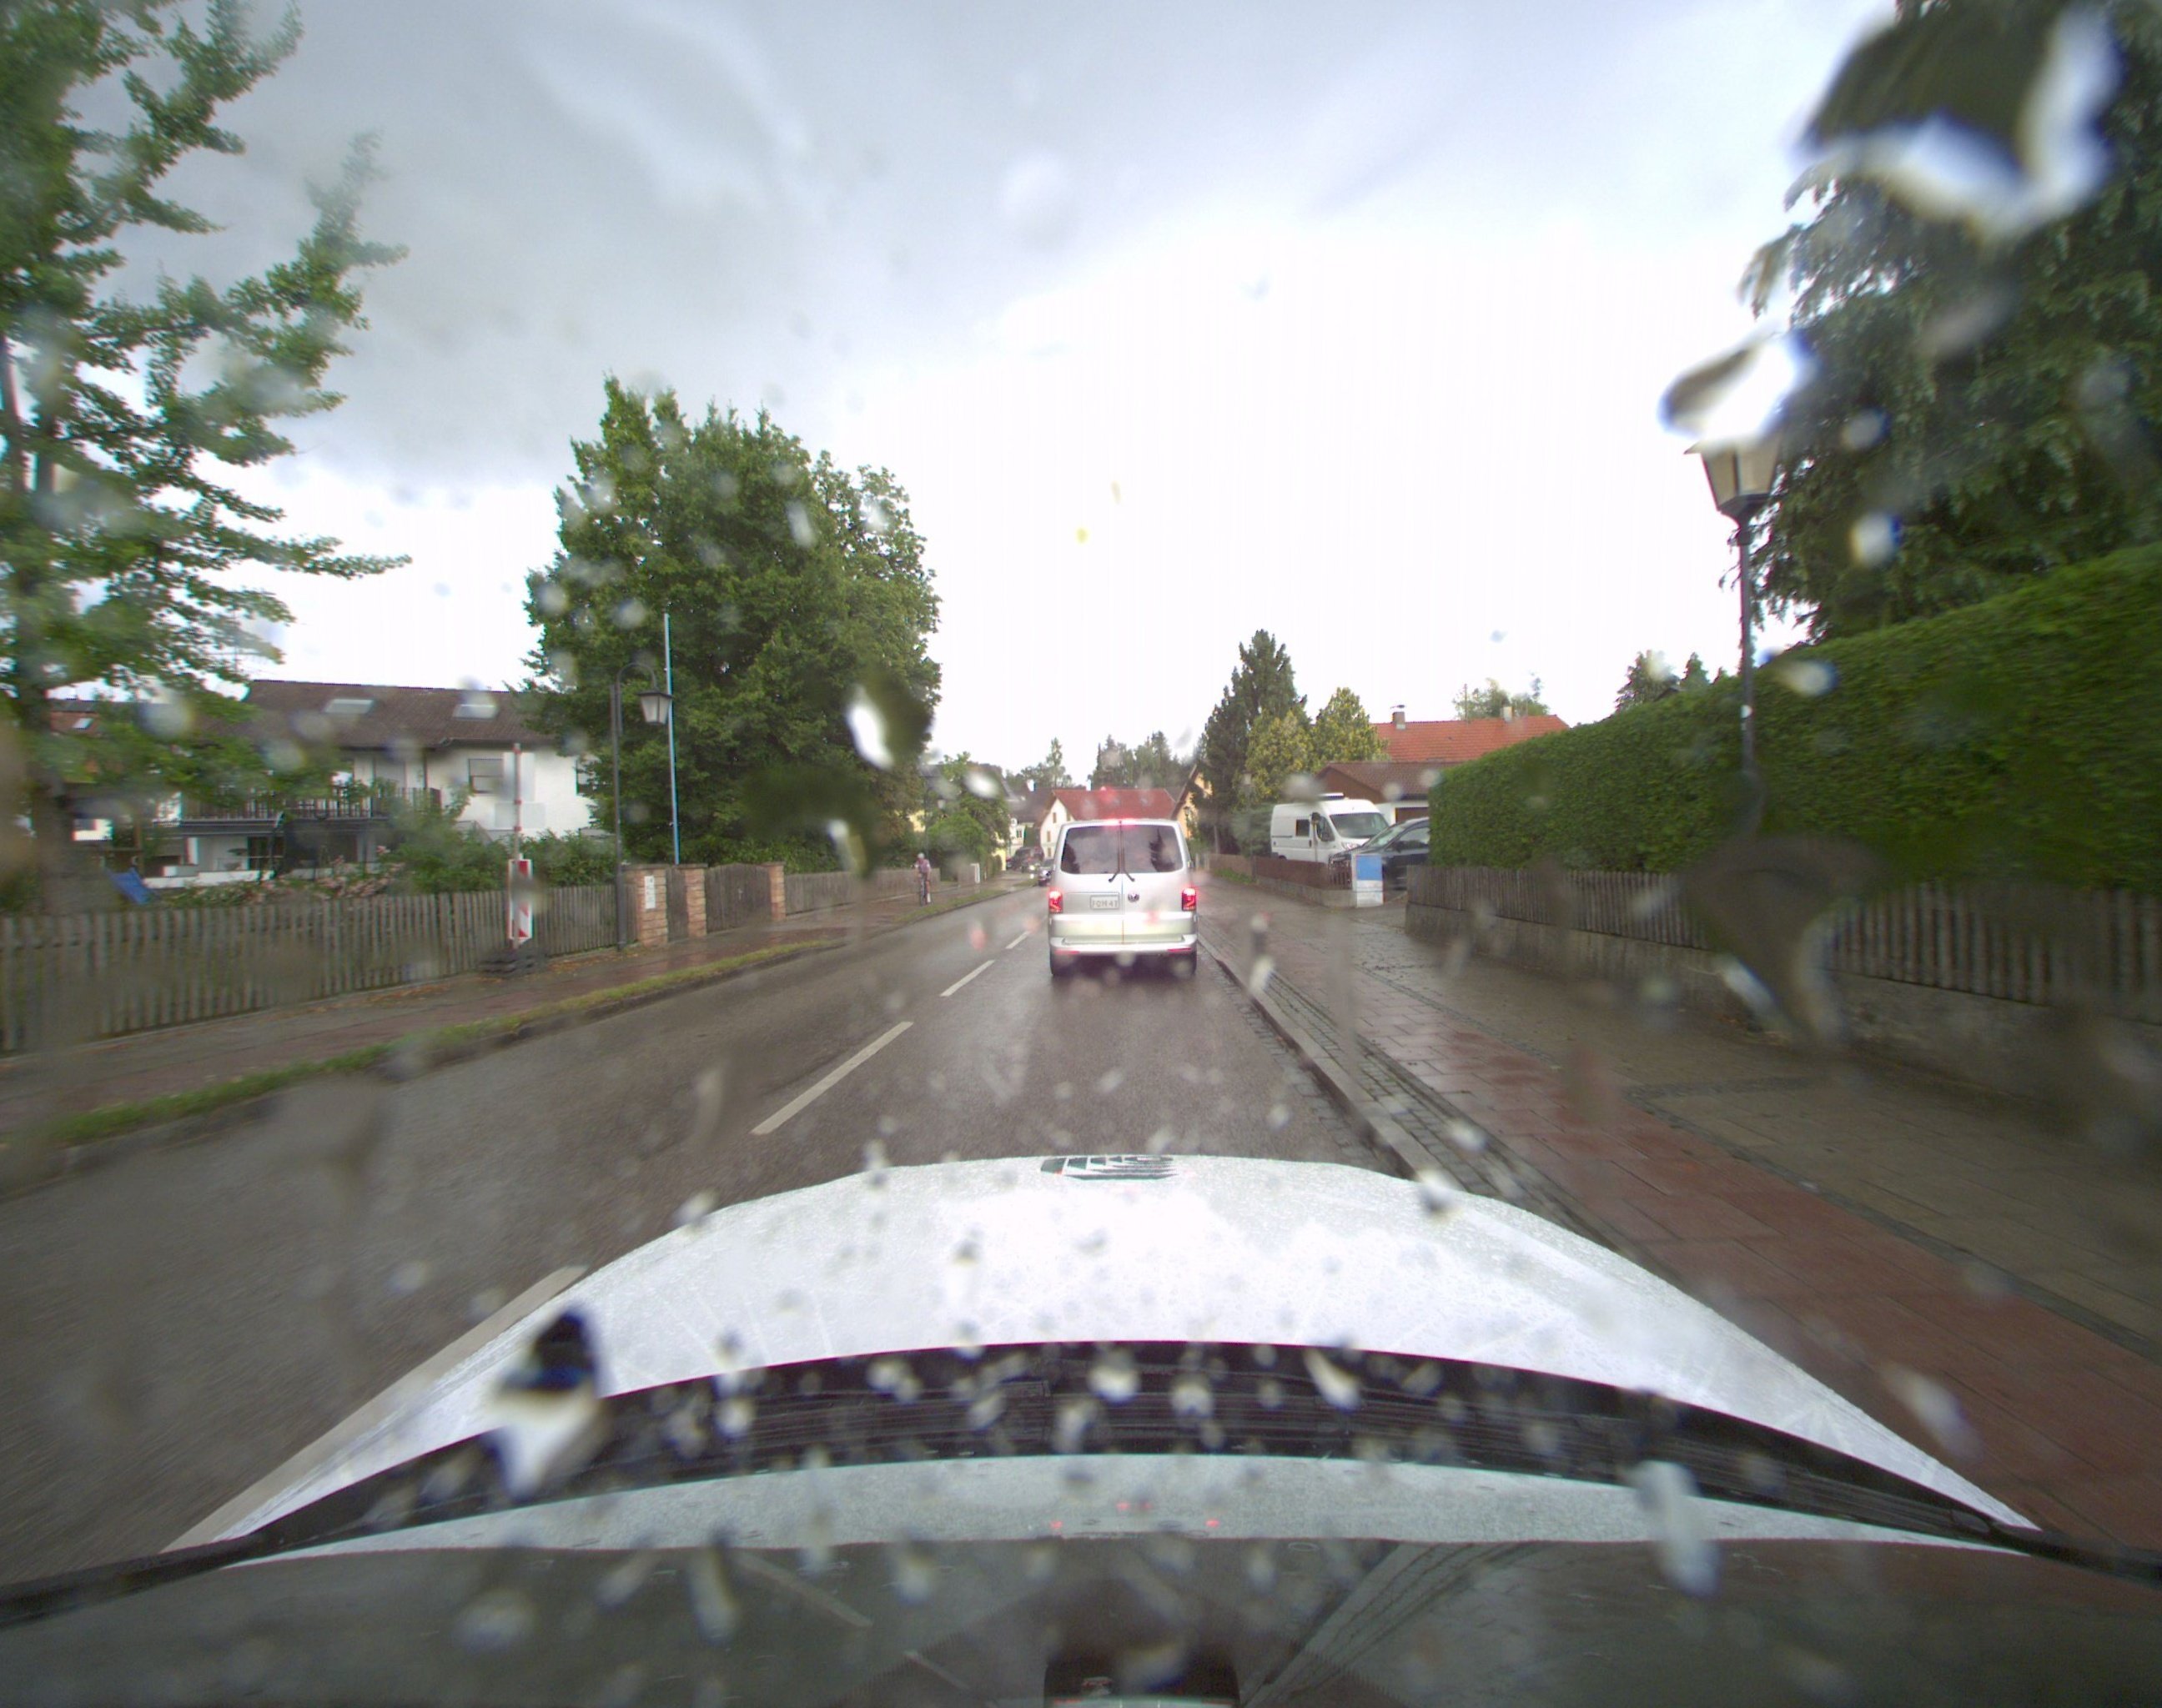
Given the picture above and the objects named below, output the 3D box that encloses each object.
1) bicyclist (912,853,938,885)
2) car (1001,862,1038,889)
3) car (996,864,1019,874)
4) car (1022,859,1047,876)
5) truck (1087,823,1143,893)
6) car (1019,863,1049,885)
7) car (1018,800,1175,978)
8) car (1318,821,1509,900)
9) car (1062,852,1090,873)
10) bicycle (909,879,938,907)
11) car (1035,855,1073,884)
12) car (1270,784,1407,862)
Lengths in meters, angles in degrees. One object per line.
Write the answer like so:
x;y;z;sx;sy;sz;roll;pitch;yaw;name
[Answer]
-5.022;0.483;26.317;0.585;1.021;1.061;-1;0;2;bicyclist
-3.531;1.230;47.309;1.610;1.444;3.674;-1;-1;4;car
-9.457;1.949;104.979;1.789;1.310;3.744;0;-1;-25;car
-4.783;1.385;82.653;1.995;1.703;3.984;0;-1;-11;car
1.607;0.211;38.890;2.466;3.074;6.299;0;-1;2;truck
-3.195;1.351;55.752;1.611;1.444;3.673;-1;-1;3;car
0.349;0.424;11.285;1.792;2.014;4.005;0;-1;5;car
8.230;0.125;20.371;4.081;1.751;1.694;-2;2;-1;car
-0.500;0.889;81.300;1.996;2.014;3.982;0;-1;-13;car
-5.044;1.225;26.170;0.454;0.798;1.978;-1;0;2;bicycle
-1.527;0.896;47.426;1.820;1.558;4.179;-2;-1;2;car
7.861;-0.835;25.445;1.994;2.174;4.934;0;-1;-11;car
